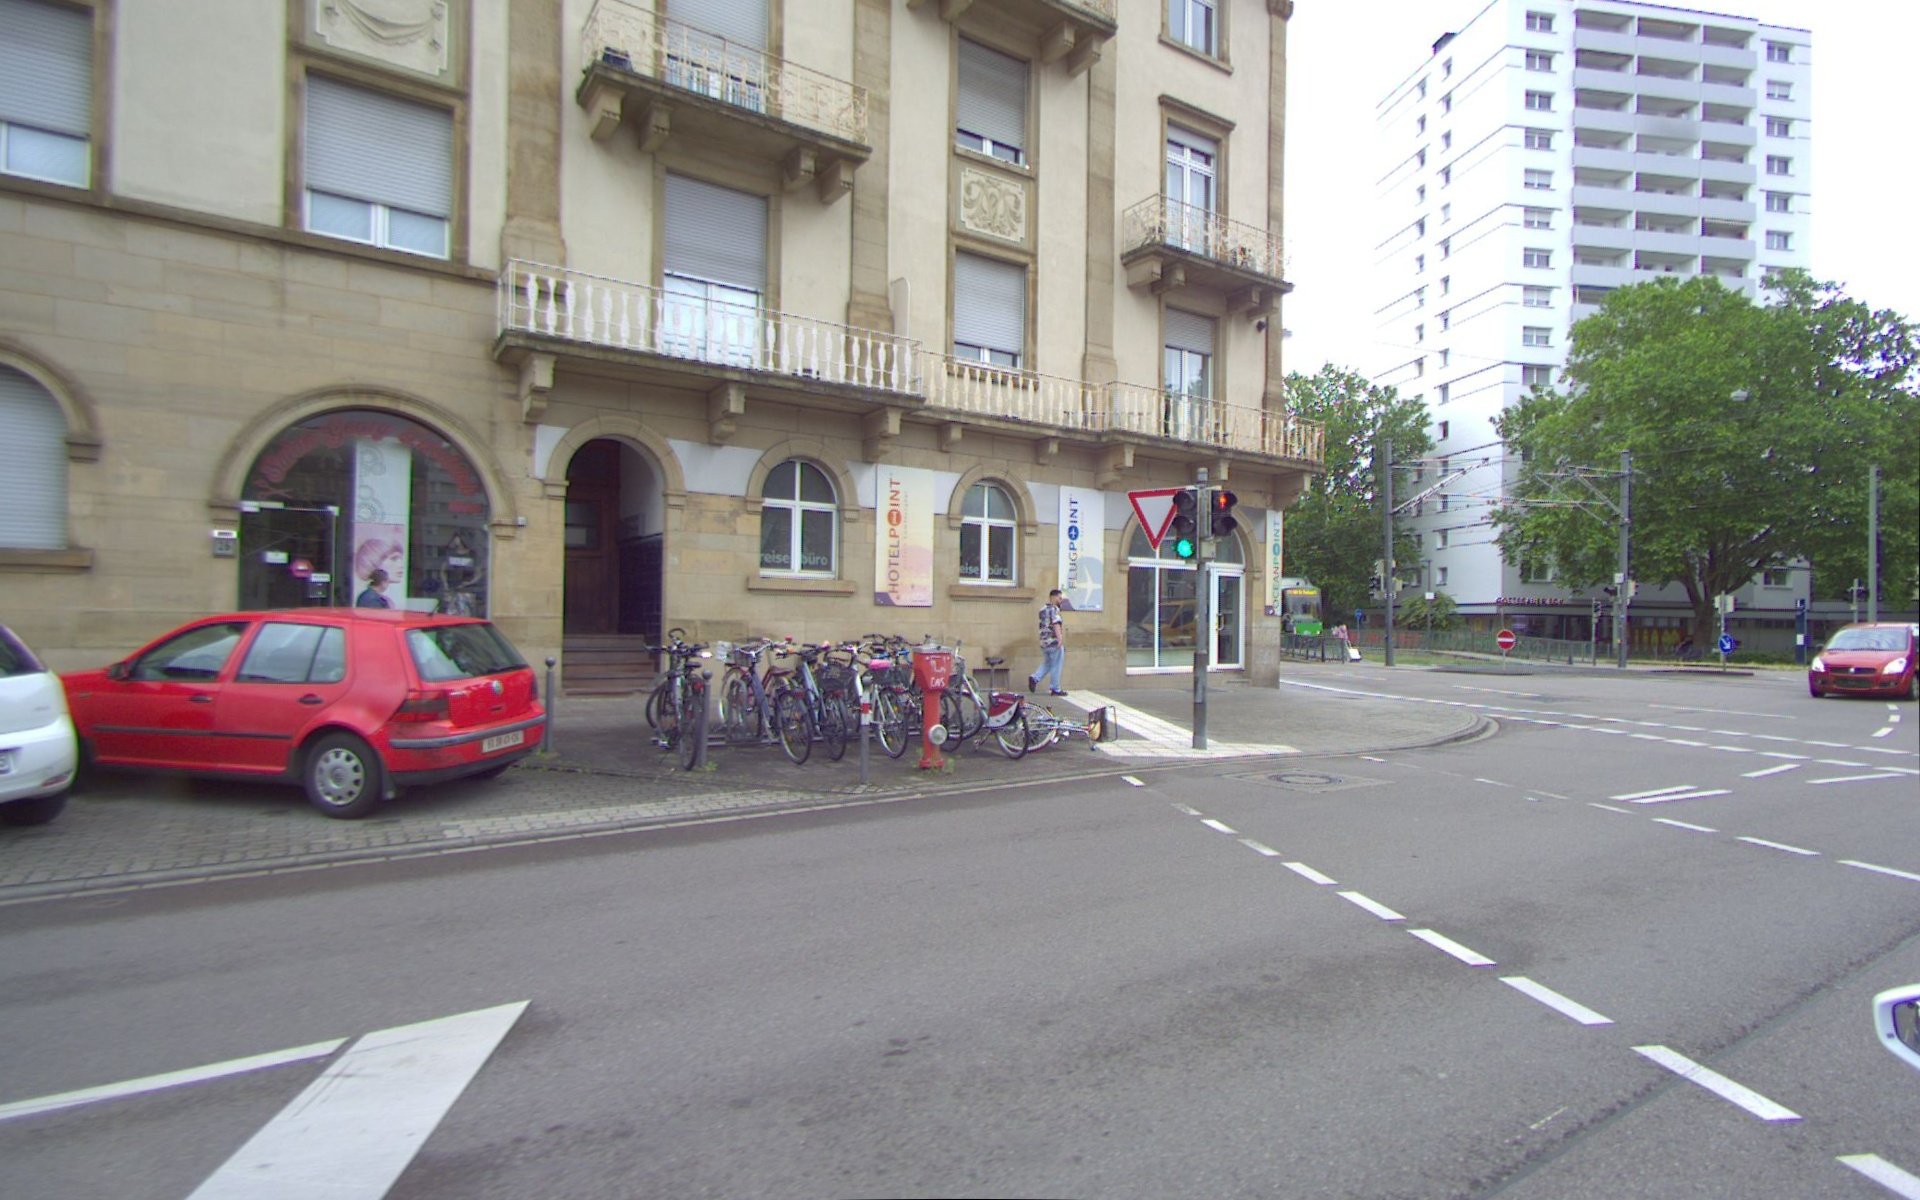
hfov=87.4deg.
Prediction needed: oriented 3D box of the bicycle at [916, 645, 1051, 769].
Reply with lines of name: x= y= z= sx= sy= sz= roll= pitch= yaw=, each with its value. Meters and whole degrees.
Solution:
bicycle: x=0.210 y=1.131 z=11.128 sx=0.438 sy=1.050 sz=1.874 roll=1 pitch=4 yaw=-34

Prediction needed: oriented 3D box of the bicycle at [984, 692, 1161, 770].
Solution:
bicycle: x=1.234 y=1.452 z=11.420 sx=1.018 sy=0.451 sz=1.874 roll=0 pitch=5 yaw=-35

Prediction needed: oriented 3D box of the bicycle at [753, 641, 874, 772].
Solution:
bicycle: x=-1.574 y=1.060 z=10.540 sx=0.438 sy=1.050 sz=1.874 roll=1 pitch=4 yaw=-34

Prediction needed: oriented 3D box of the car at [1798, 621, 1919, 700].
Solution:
car: x=19.674 y=1.237 z=21.574 sx=3.963 sy=1.545 sz=1.720 roll=2 pitch=-2 yaw=-37

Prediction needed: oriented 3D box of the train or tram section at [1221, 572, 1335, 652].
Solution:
train or tram section: x=16.274 y=0.686 z=52.044 sx=2.637 sy=3.811 sz=7.250 roll=1 pitch=-1 yaw=-10

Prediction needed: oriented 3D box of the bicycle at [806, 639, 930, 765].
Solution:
bicycle: x=-1.040 y=1.055 z=10.921 sx=0.438 sy=1.050 sz=1.874 roll=1 pitch=4 yaw=-34

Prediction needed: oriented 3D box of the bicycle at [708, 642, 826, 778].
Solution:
bicycle: x=-2.007 y=1.064 z=10.232 sx=0.438 sy=1.050 sz=1.874 roll=1 pitch=4 yaw=-34

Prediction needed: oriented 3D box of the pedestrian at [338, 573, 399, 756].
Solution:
pedestrian: x=-6.632 y=0.707 z=11.259 sx=0.544 sy=1.984 sz=0.616 roll=1 pitch=-1 yaw=-32

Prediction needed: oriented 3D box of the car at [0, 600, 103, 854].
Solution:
car: x=-7.675 y=0.696 z=6.259 sx=3.919 sy=1.492 sz=1.565 roll=2 pitch=0 yaw=15

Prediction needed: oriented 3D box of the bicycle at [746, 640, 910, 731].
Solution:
bicycle: x=-1.599 y=1.020 z=12.353 sx=1.975 sy=1.041 sz=0.499 roll=1 pitch=-1 yaw=-33

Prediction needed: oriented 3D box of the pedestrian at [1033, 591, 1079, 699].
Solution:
pedestrian: x=1.645 y=0.766 z=17.222 sx=0.544 sy=1.809 sz=0.563 roll=1 pitch=-1 yaw=-32

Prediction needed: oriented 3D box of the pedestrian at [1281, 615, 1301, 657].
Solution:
pedestrian: x=14.862 y=1.611 z=45.111 sx=0.577 sy=1.889 sz=0.732 roll=1 pitch=-1 yaw=-10

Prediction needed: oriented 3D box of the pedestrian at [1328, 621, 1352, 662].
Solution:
pedestrian: x=15.030 y=1.629 z=39.742 sx=0.577 sy=1.624 sz=0.732 roll=1 pitch=-1 yaw=-10

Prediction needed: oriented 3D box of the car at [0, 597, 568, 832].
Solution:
car: x=-5.398 y=0.780 z=7.971 sx=3.919 sy=1.492 sz=1.685 roll=2 pitch=1 yaw=9

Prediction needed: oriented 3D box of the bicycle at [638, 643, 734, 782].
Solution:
bicycle: x=-2.725 y=1.045 z=9.858 sx=0.437 sy=1.050 sz=1.877 roll=1 pitch=3 yaw=-29

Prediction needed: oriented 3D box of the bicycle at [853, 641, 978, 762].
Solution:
bicycle: x=-0.538 y=1.089 z=11.302 sx=0.438 sy=1.050 sz=1.874 roll=1 pitch=4 yaw=-34
